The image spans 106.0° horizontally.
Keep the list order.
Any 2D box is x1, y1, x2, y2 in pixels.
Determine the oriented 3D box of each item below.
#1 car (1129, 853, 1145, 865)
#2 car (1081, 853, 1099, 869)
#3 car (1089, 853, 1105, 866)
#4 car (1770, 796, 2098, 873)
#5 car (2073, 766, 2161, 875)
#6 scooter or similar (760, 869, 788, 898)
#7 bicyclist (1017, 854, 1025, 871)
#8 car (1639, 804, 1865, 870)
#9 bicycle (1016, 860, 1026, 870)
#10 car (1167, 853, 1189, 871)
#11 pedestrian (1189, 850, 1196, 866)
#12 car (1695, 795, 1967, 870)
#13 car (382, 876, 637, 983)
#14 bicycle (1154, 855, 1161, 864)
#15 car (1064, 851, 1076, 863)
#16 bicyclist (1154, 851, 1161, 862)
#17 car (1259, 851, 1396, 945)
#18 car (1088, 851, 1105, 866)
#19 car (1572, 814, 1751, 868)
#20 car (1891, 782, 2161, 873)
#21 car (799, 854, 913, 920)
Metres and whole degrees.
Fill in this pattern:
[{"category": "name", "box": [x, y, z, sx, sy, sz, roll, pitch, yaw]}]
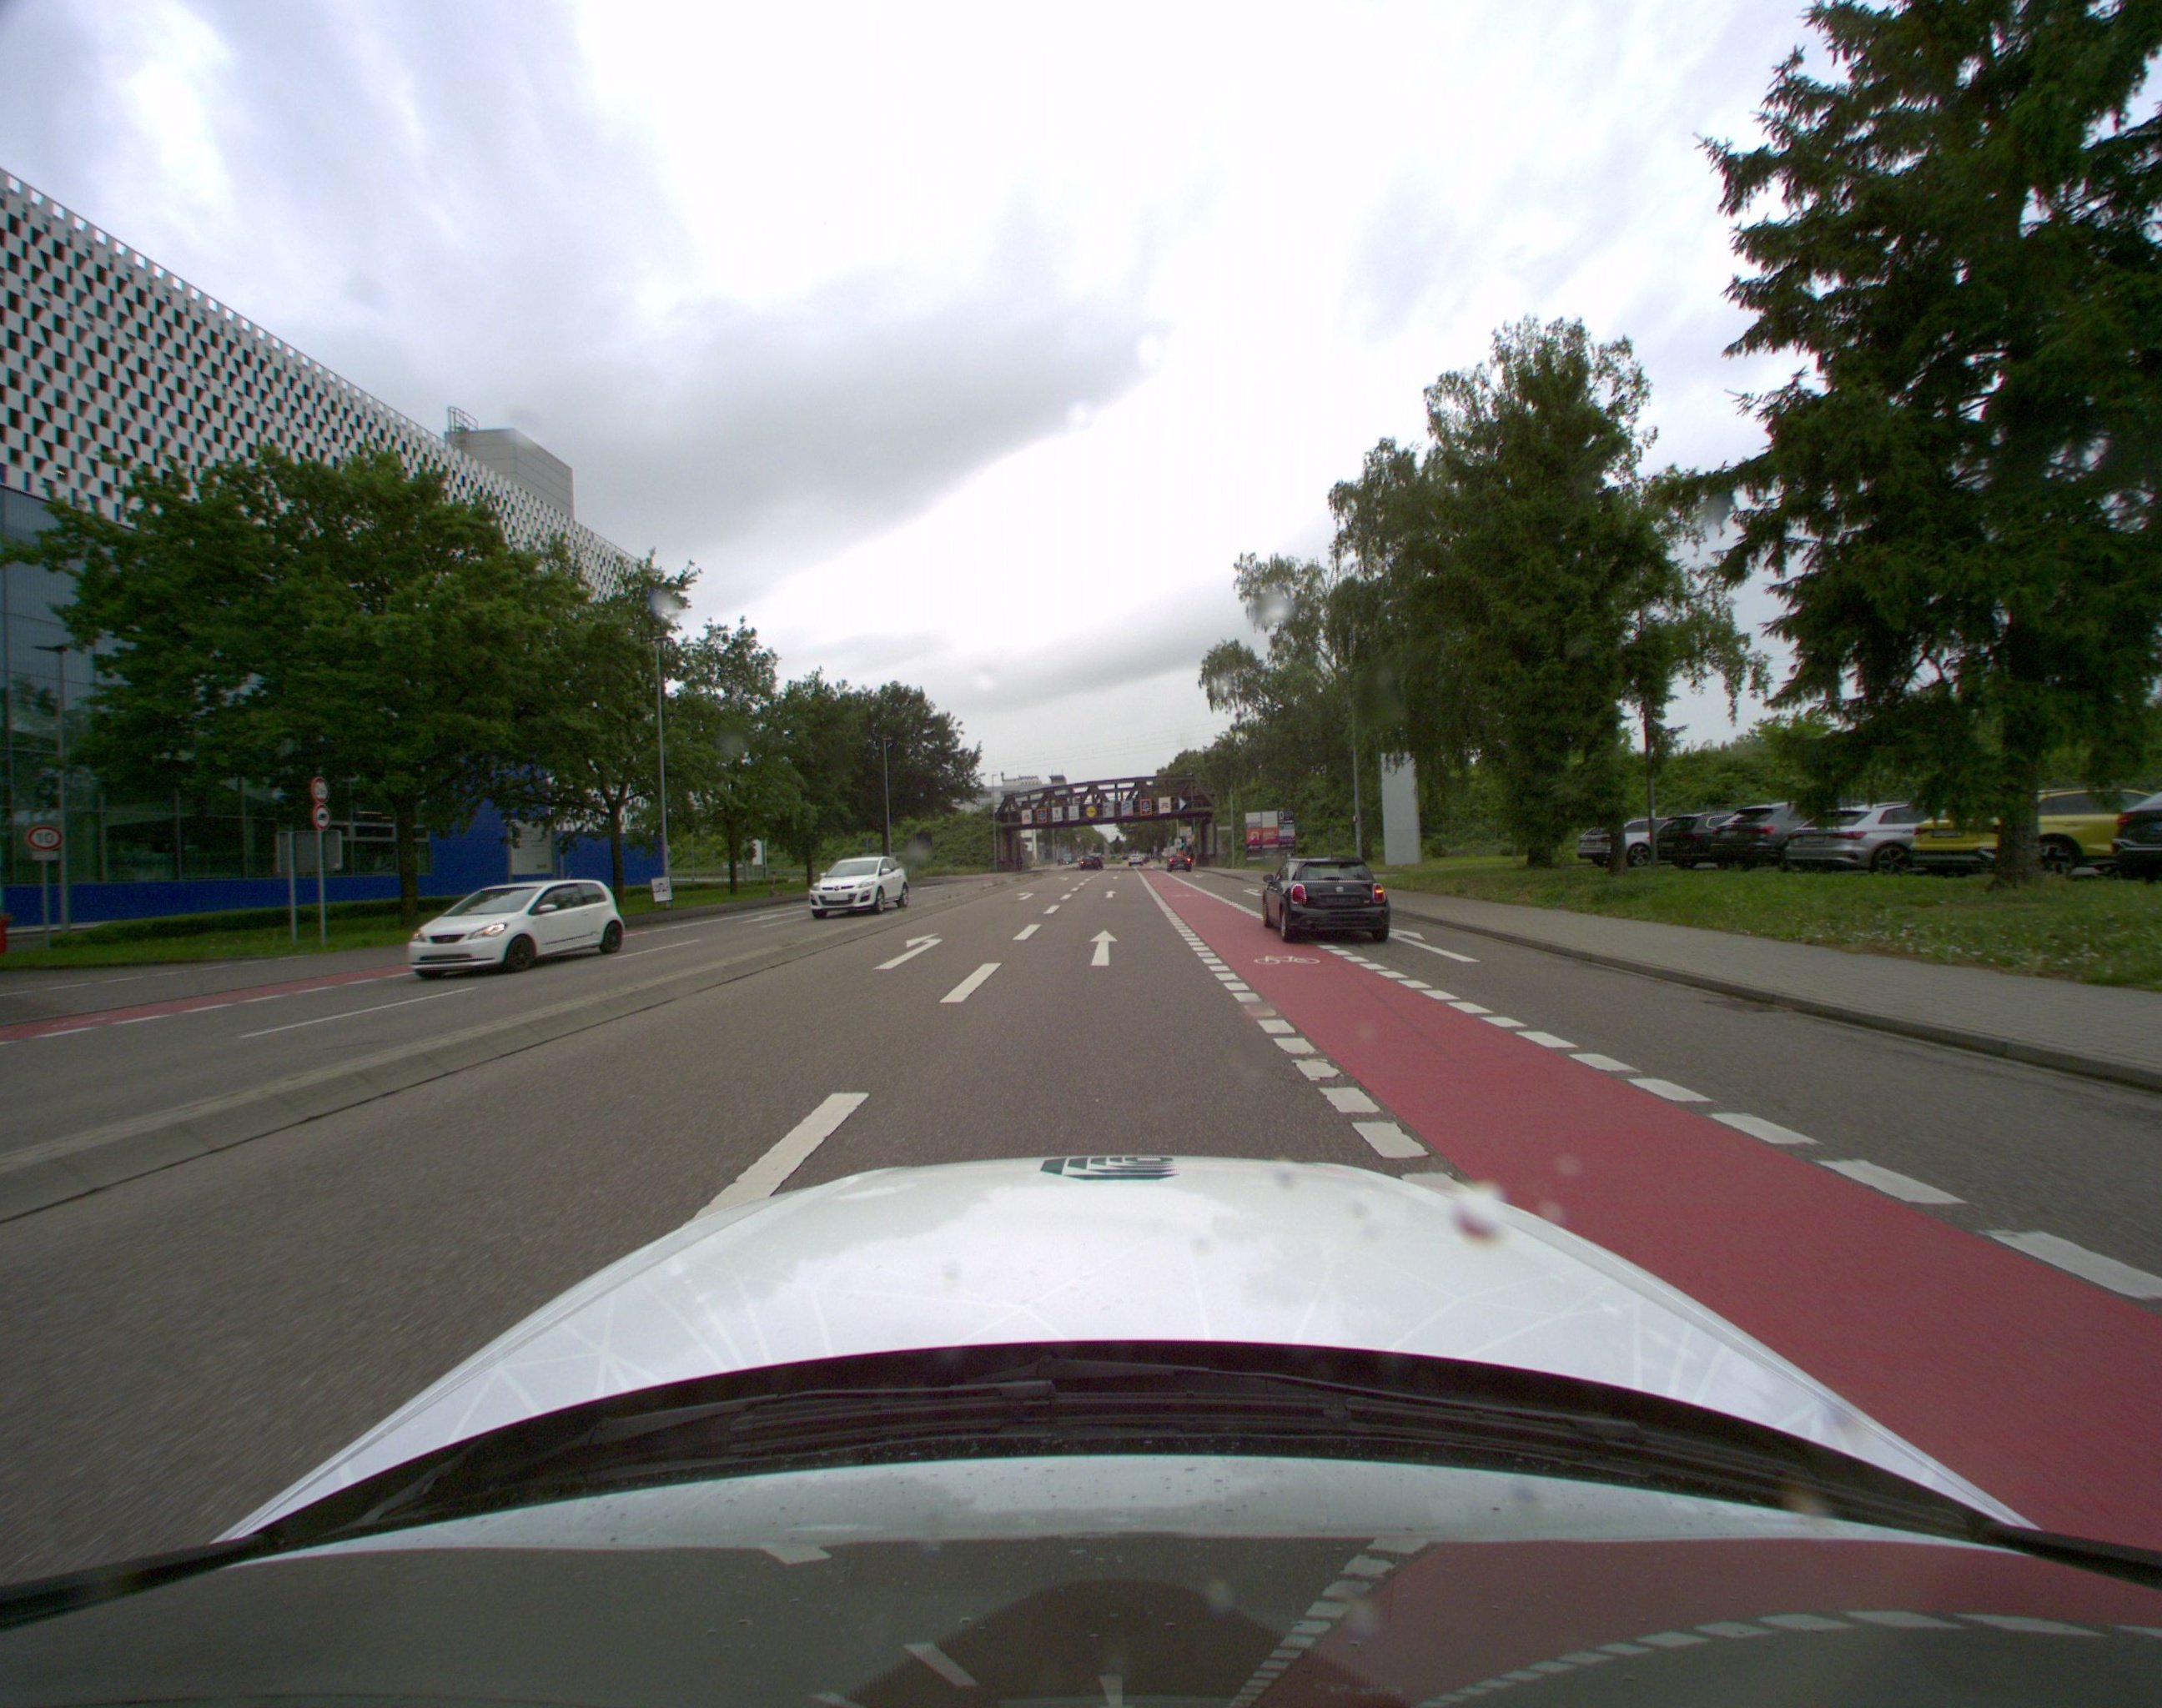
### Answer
[{"category": "car", "box": [7.470, 0.675, 108.922, 1.818, 1.600, 3.775, -1, 0, 0]}, {"category": "car", "box": [0.942, 0.719, 85.674, 1.763, 1.527, 3.668, -1, 0, 0]}, {"category": "car", "box": [2.001, 0.723, 104.187, 1.956, 1.527, 5.009, -1, 0, -1]}, {"category": "car", "box": [16.363, -0.368, 15.823, 4.279, 1.382, 1.904, 0, 0, 3]}, {"category": "car", "box": [15.974, -0.422, 10.599, 3.737, 1.423, 1.954, 0, 0, 1]}, {"category": "scooter or similar", "box": [-14.814, 1.408, 39.316, 0.444, 1.321, 1.510, -2, 0, 13]}, {"category": "bicyclist", "box": [-6.732, 0.991, 91.472, 0.699, 1.874, 1.021, -1, -1, 3]}, {"category": "car", "box": [17.245, -0.419, 21.096, 4.283, 1.601, 1.969, 0, 0, 0]}, {"category": "bicycle", "box": [-6.732, 1.244, 91.456, 0.710, 1.187, 2.372, -1, -1, 3]}, {"category": "car", "box": [7.554, 0.615, 63.499, 1.639, 1.281, 3.425, -1, 0, 6]}, {"category": "pedestrian", "box": [12.157, 0.429, 88.885, 0.737, 1.640, 0.781, -2, 0, 10]}, {"category": "car", "box": [16.817, -0.469, 18.450, 4.279, 1.601, 1.971, 0, 0, 3]}, {"category": "car", "box": [-9.819, 1.220, 14.383, 1.669, 1.428, 3.654, -4, 0, 4]}, {"category": "bicycle", "box": [11.177, 0.829, 118.774, 0.813, 1.212, 2.685, -3, 0, 3]}, {"category": "car", "box": [-2.697, 0.736, 199.946, 2.317, 2.826, 5.959, -3, -1, 6]}, {"category": "bicyclist", "box": [11.154, 0.342, 118.844, 0.813, 1.630, 1.236, -3, -1, 2]}, {"category": "car", "box": [4.254, 0.683, 14.611, 1.671, 1.431, 3.781, -1, 0, 6]}, {"category": "car", "box": [1.748, 0.486, 93.496, 1.767, 1.652, 3.668, -1, 0, 0]}, {"category": "car", "box": [17.660, -0.392, 24.887, 4.288, 1.489, 1.738, -2, 0, -3]}, {"category": "car", "box": [16.264, -0.409, 13.392, 3.976, 1.379, 1.813, 0, 0, 4]}, {"category": "car", "box": [-6.420, 0.877, 23.841, 1.811, 1.587, 4.516, -4, 0, 2]}]
